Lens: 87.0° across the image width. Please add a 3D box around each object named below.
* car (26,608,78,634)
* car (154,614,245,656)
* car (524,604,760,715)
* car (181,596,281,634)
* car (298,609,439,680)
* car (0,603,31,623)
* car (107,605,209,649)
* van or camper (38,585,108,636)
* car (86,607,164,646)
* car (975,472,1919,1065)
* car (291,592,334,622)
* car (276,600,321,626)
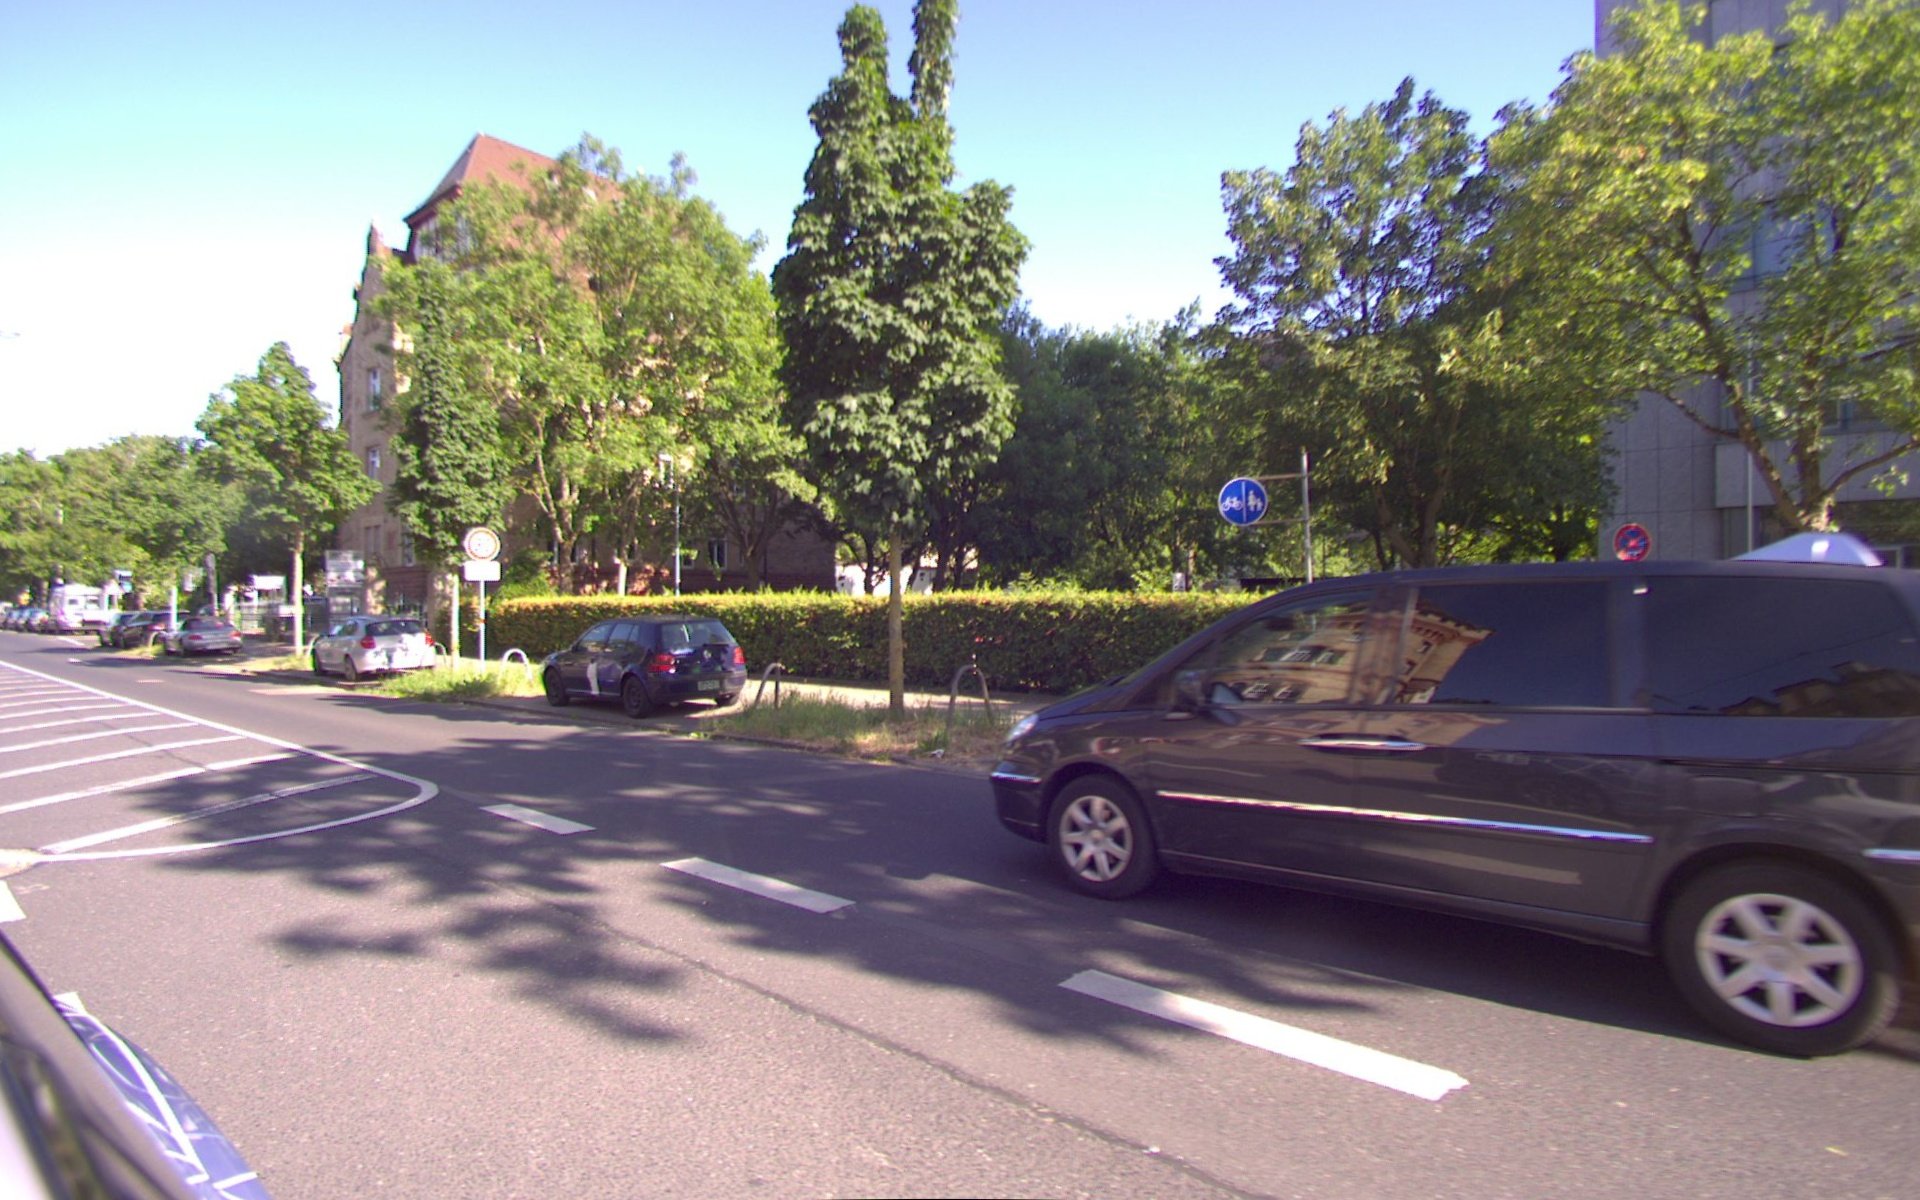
[{"bbox_3d":[-54.701,1.253,60.940,4.660,1.468,1.676,-1,-2,40],"label":"car"},{"bbox_3d":[-25.314,1.137,33.633,4.014,1.265,1.660,-1,0,42],"label":"car"},{"bbox_3d":[-5.023,0.821,15.709,4.072,1.469,1.693,-1,0,43],"label":"car"},{"bbox_3d":[-38.608,0.764,53.733,1.977,1.682,4.135,-3,2,8],"label":"car"},{"bbox_3d":[-13.574,0.945,23.129,4.192,1.393,1.669,-1,2,44],"label":"car"},{"bbox_3d":[-71.096,0.968,76.025,3.957,1.513,1.448,0,-1,42],"label":"car"},{"bbox_3d":[-30.720,1.002,38.718,4.697,1.505,1.839,-1,3,37],"label":"car"},{"bbox_3d":[-50.446,0.592,57.514,6.085,2.760,2.193,-1,-1,41],"label":"van or camper"},{"bbox_3d":[-35.545,1.078,43.051,4.719,1.438,1.836,0,3,42],"label":"car"},{"bbox_3d":[2.421,0.560,4.873,4.608,1.839,1.836,-1,-2,41],"label":"car"},{"bbox_3d":[-44.739,0.471,69.990,1.833,1.928,4.467,2,0,-24],"label":"car"},{"bbox_3d":[-42.678,0.834,65.362,1.833,1.524,3.541,2,0,-24],"label":"car"}]
